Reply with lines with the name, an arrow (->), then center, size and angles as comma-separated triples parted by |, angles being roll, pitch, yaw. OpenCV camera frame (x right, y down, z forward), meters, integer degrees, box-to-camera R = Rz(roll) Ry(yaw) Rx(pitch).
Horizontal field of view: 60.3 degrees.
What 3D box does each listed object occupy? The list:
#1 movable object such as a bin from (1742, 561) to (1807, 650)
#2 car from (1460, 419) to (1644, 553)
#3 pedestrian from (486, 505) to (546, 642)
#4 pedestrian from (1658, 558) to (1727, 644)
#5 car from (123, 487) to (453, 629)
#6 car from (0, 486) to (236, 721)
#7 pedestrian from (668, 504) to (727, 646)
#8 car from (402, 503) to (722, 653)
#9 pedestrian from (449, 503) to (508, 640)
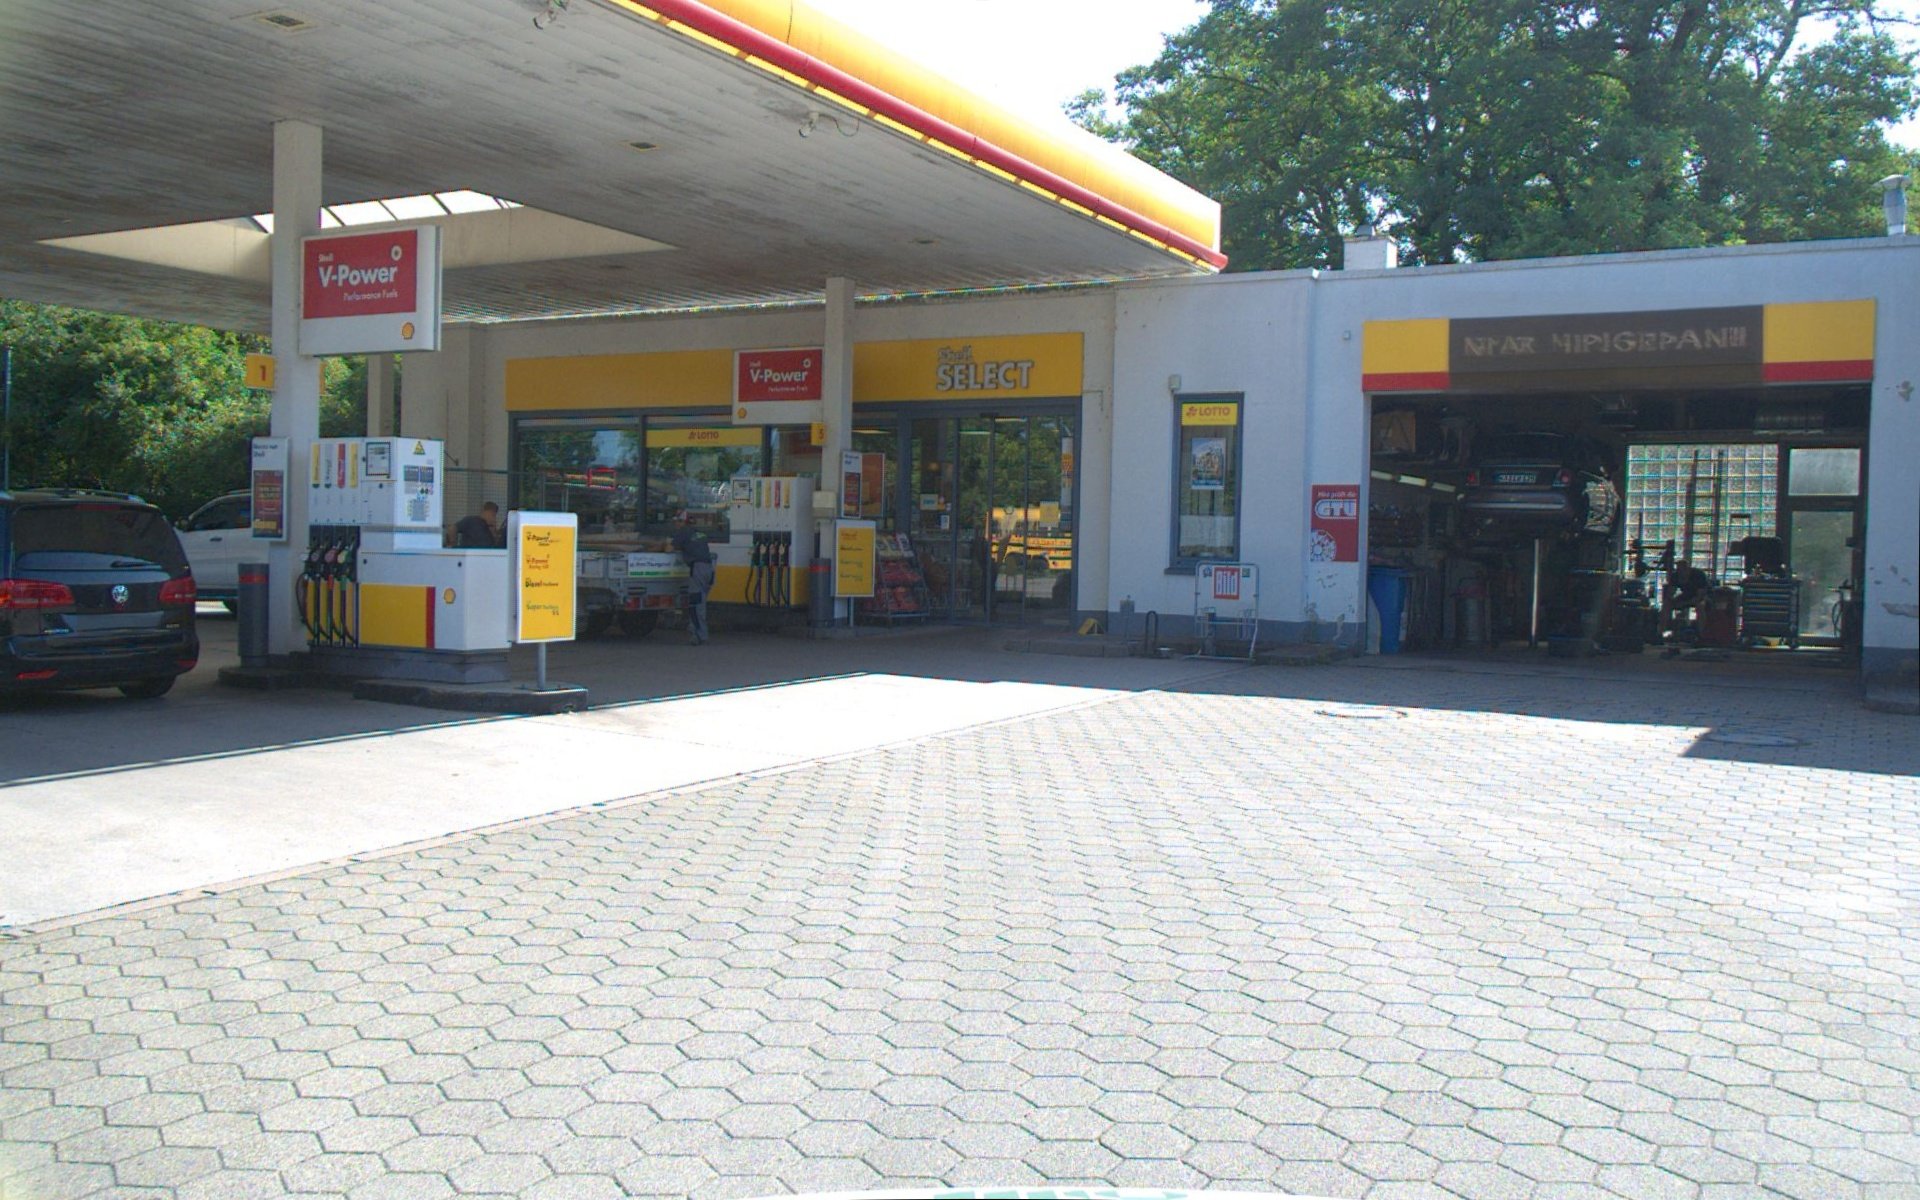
movable object such as a bin -> 11.818, 0.081, 23.991 | 0.782, 1.258, 0.543 | 2, 0, 31
car -> 8.244, -1.492, 22.814 | 1.616, 1.512, 3.991 | 2, 0, 31
pedestrian -> -5.352, -0.327, 19.932 | 0.466, 1.621, 0.499 | 2, 2, 33
pedestrian -> 10.701, 0.017, 24.151 | 0.847, 1.219, 0.742 | 2, 0, 28
car -> -9.748, -0.642, 23.915 | 4.674, 1.869, 1.855 | 2, 2, 28
car -> -7.717, -0.058, 12.981 | 3.791, 1.606, 1.763 | 2, 2, 28
pedestrian -> -3.201, -0.307, 20.189 | 0.490, 1.697, 0.475 | 2, 2, 31
car -> -5.133, -0.326, 21.198 | 3.917, 1.758, 1.828 | 2, 2, 33
pedestrian -> -5.932, -0.361, 20.391 | 0.466, 1.660, 0.499 | 2, 2, 33
